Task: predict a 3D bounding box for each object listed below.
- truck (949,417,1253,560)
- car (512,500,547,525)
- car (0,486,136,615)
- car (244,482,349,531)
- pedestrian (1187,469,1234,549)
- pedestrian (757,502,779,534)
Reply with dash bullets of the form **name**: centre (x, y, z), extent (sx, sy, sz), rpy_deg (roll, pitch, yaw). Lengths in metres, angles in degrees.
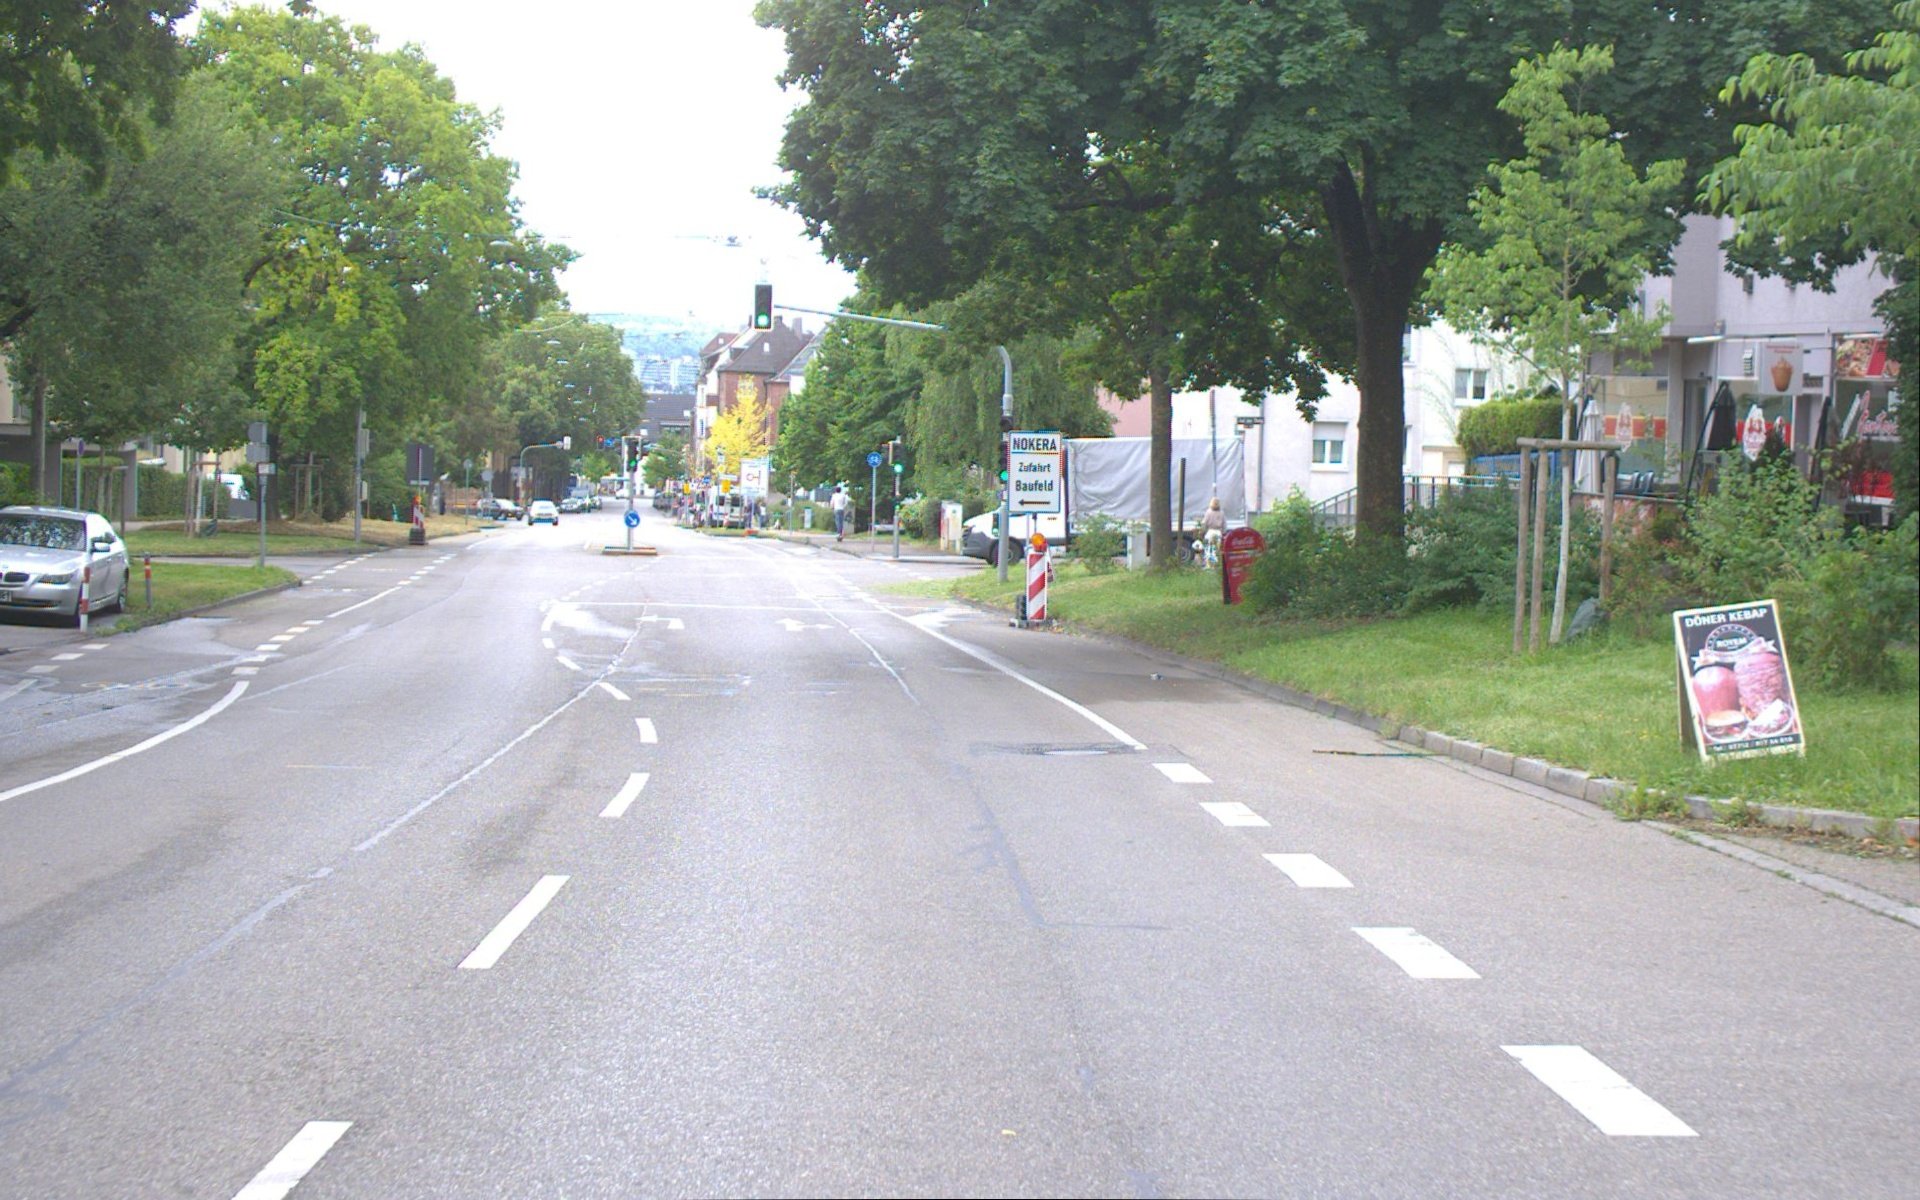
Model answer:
- **truck**: centre (3.464, -2.758, 85.460), extent (7.226, 3.295, 2.540), rpy_deg (2, 2, -4)
- **car**: centre (-26.580, -5.399, 212.297), extent (1.993, 1.500, 4.001), rpy_deg (2, 1, -6)
- **car**: centre (-12.484, -0.710, 46.523), extent (1.761, 1.627, 4.754), rpy_deg (2, 1, -4)
- **car**: centre (-23.460, -3.315, 121.606), extent (3.448, 1.590, 2.001), rpy_deg (2, 1, -7)
- **pedestrian**: centre (5.835, -2.135, 80.199), extent (0.747, 1.848, 0.955), rpy_deg (-2, 2, -19)
- **pedestrian**: centre (-11.197, -4.799, 200.894), extent (1.200, 1.804, 1.301), rpy_deg (2, 1, -4)
